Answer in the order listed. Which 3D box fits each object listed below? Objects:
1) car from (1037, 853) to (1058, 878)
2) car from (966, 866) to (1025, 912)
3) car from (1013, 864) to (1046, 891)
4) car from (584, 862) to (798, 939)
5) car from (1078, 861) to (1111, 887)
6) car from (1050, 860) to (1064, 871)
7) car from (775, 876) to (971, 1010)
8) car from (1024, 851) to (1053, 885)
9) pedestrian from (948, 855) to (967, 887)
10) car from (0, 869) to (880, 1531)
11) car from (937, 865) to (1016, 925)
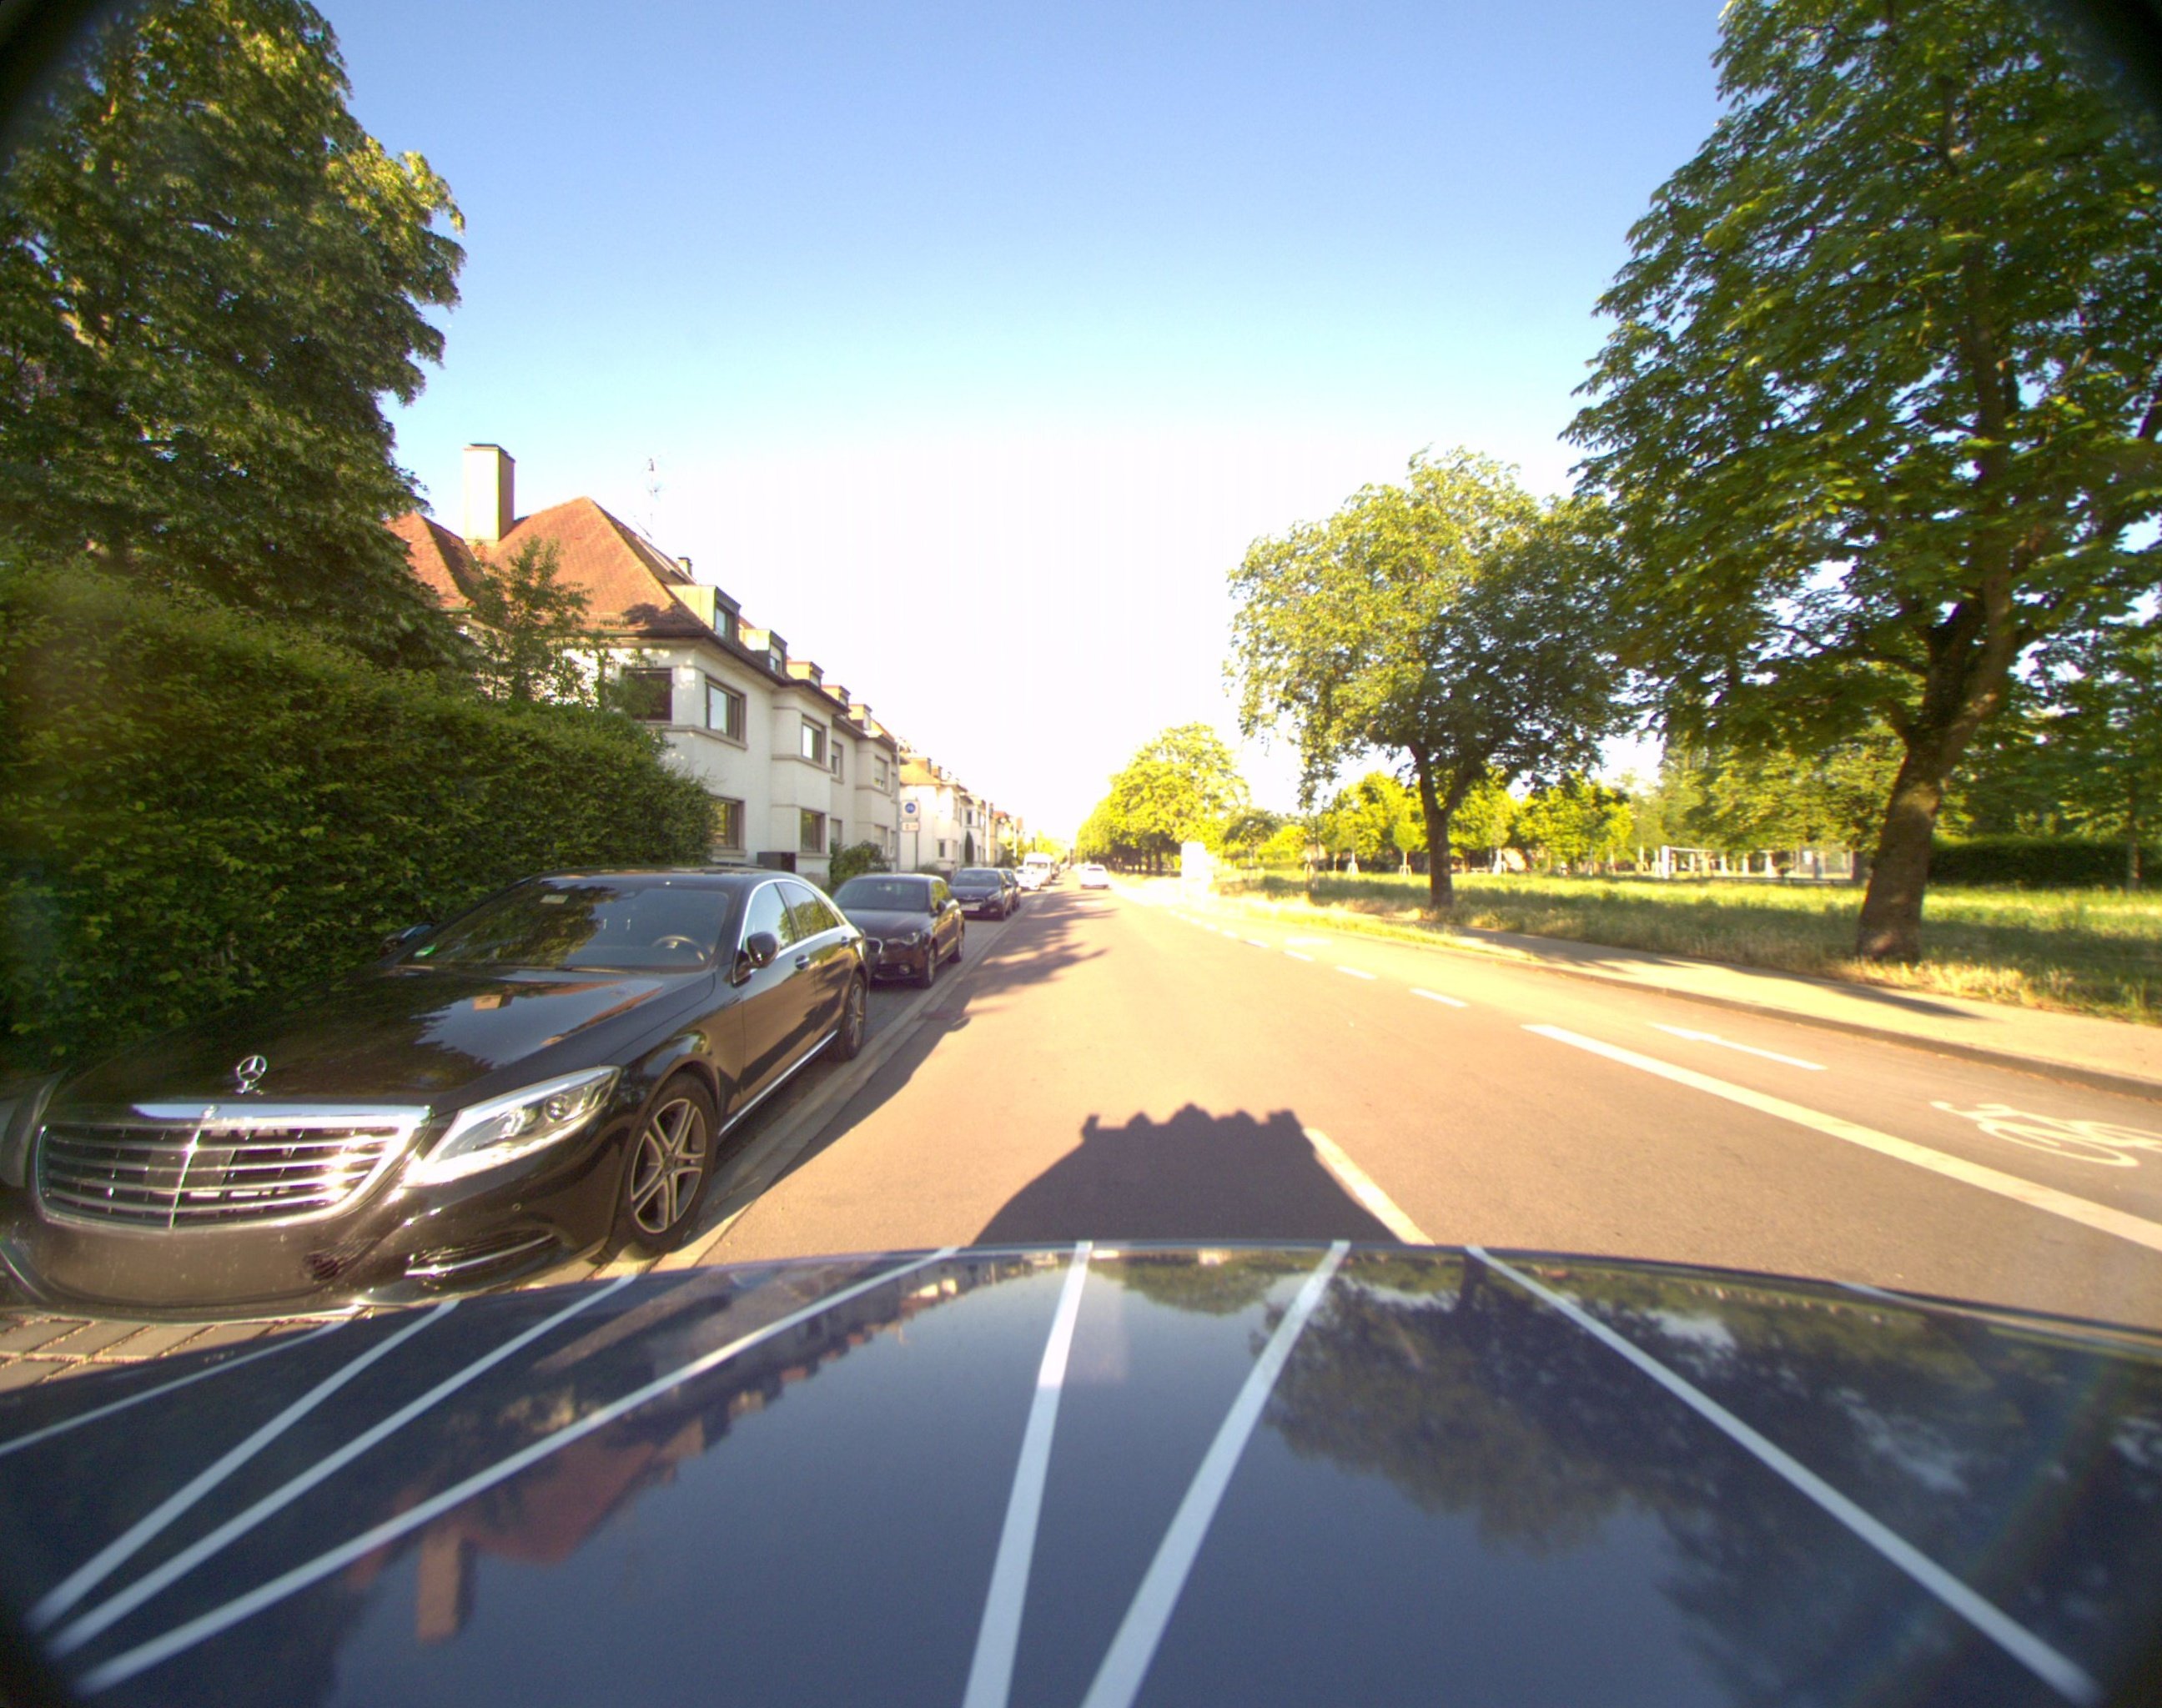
[{"bbox_3d":[-3.945,1.357,90.275,2.134,2.837,5.987,-1,-1,-1],"label":"car"},{"bbox_3d":[-3.017,1.210,27.512,1.723,1.462,3.983,2,0,-2],"label":"car"},{"bbox_3d":[-3.109,1.415,46.520,1.787,1.498,4.233,-1,0,-2],"label":"car"},{"bbox_3d":[-8.237,0.960,16.323,3.644,1.487,1.780,2,0,-5],"label":"car"},{"bbox_3d":[0.859,1.340,51.878,1.896,1.667,4.423,-1,0,-4],"label":"car"},{"bbox_3d":[-3.689,1.812,116.608,1.974,1.630,4.000,2,-1,-1],"label":"car"},{"bbox_3d":[-2.663,1.077,10.661,1.645,1.419,3.936,2,0,0],"label":"car"},{"bbox_3d":[-3.310,1.038,59.578,2.135,2.503,5.507,1,0,-2],"label":"car"},{"bbox_3d":[-7.912,1.090,48.719,1.089,2.002,0.865,0,0,-16],"label":"pedestrian"},{"bbox_3d":[-2.637,0.905,4.291,1.864,1.533,4.872,1,0,-3],"label":"car"},{"bbox_3d":[-2.935,1.122,22.180,1.751,1.466,4.255,3,0,-2],"label":"car"}]
